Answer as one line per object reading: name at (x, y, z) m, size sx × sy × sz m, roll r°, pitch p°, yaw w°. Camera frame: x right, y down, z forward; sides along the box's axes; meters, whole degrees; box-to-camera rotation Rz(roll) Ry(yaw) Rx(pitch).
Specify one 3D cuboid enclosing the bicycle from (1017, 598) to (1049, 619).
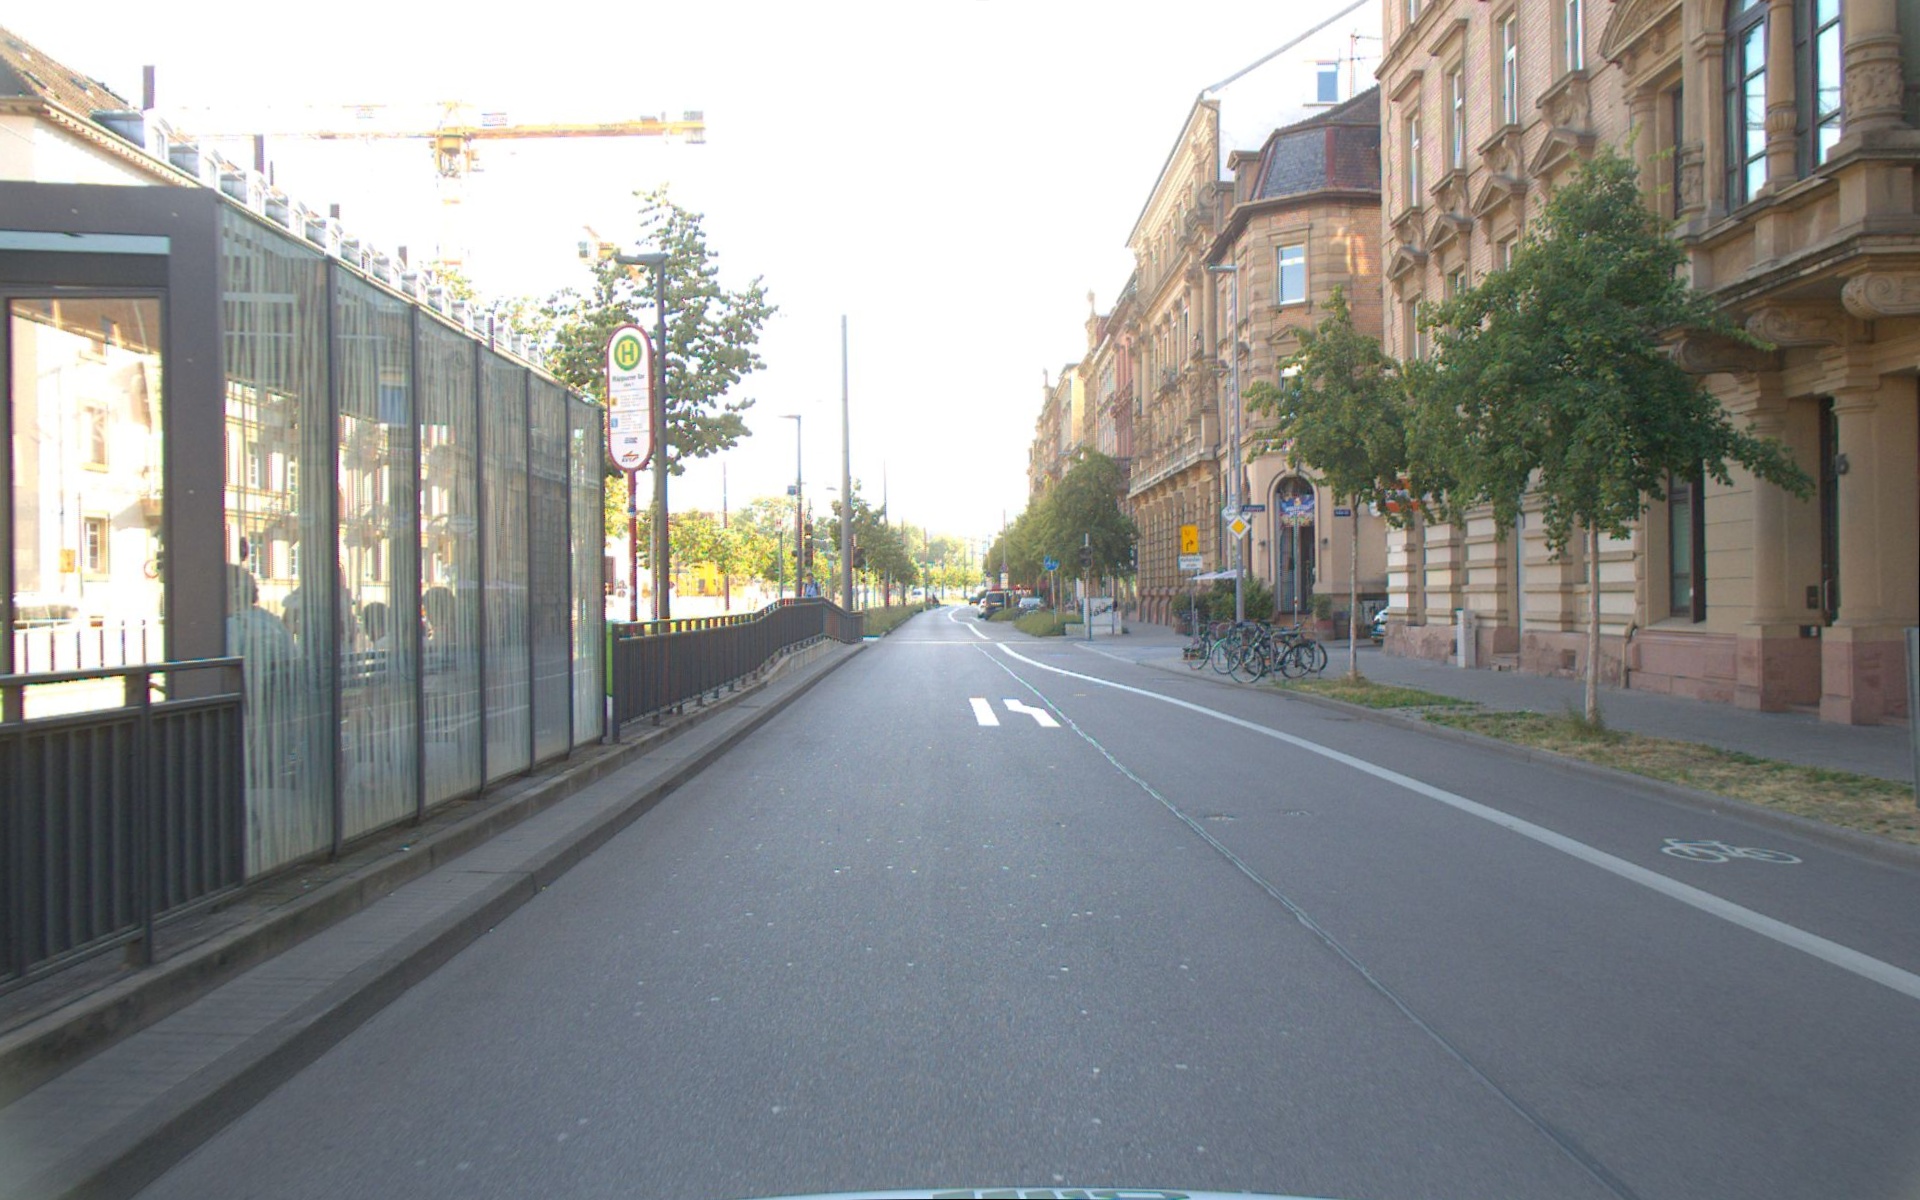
bicycle at (4.037, 0.484, 91.602) m, size 1.660 × 1.066 × 0.488 m, roll -3°, pitch 0°, yaw -9°

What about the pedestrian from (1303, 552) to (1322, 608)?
pedestrian at (11.312, -0.637, 53.030) m, size 0.437 × 1.771 × 0.542 m, roll -1°, pitch 0°, yaw 27°

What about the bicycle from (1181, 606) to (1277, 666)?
bicycle at (5.566, 0.746, 34.248) m, size 1.790 × 1.083 × 0.663 m, roll -4°, pitch 1°, yaw -6°

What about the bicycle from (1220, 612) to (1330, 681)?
bicycle at (5.716, 0.829, 30.020) m, size 1.790 × 1.083 × 0.663 m, roll -4°, pitch 1°, yaw -6°

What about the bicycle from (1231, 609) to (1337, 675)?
bicycle at (6.144, 0.791, 31.400) m, size 1.790 × 1.083 × 0.663 m, roll -4°, pitch 1°, yaw -6°

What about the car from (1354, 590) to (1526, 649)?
car at (12.618, 0.513, 43.527) m, size 4.069 × 1.412 × 1.613 m, roll -2°, pitch -1°, yaw -13°

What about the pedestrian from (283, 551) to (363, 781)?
pedestrian at (-4.008, 0.406, 10.417) m, size 0.399 × 1.410 × 0.428 m, roll -1°, pitch 0°, yaw -13°

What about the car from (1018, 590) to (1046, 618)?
car at (4.339, 0.230, 100.109) m, size 1.603 × 1.511 × 4.213 m, roll -3°, pitch 1°, yaw 2°

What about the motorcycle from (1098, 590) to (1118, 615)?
motorcycle at (8.483, 0.134, 95.106) m, size 0.779 × 1.331 × 2.852 m, roll -3°, pitch 1°, yaw -1°

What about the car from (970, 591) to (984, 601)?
car at (2.584, -0.581, 255.783) m, size 1.759 × 1.489 × 4.003 m, roll -1°, pitch 0°, yaw 6°

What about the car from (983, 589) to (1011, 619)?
car at (2.599, 0.267, 116.532) m, size 1.846 × 1.971 × 4.474 m, roll -1°, pitch 1°, yaw 1°

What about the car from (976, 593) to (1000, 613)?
car at (2.196, 0.226, 129.844) m, size 1.811 × 1.483 × 4.157 m, roll -1°, pitch 1°, yaw 1°

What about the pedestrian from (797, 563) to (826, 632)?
pedestrian at (-3.647, -0.048, 40.665) m, size 0.641 × 1.671 × 0.867 m, roll -1°, pitch -1°, yaw -1°

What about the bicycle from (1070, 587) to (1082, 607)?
bicycle at (8.645, -0.262, 123.353) m, size 0.647 × 1.427 × 2.352 m, roll -1°, pitch 1°, yaw -1°

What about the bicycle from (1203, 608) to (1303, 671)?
bicycle at (5.804, 0.771, 32.778) m, size 1.790 × 1.083 × 0.663 m, roll -4°, pitch 1°, yaw -6°

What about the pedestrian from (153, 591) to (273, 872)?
pedestrian at (-3.336, 0.570, 7.410) m, size 0.399 × 1.211 × 0.428 m, roll -1°, pitch 0°, yaw -13°

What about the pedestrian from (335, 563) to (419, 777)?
pedestrian at (-3.391, 0.396, 9.637) m, size 0.399 × 1.211 × 0.428 m, roll -1°, pitch 0°, yaw -13°

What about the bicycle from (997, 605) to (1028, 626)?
bicycle at (3.019, 0.905, 94.818) m, size 1.657 × 1.066 × 0.489 m, roll -5°, pitch 0°, yaw -1°
